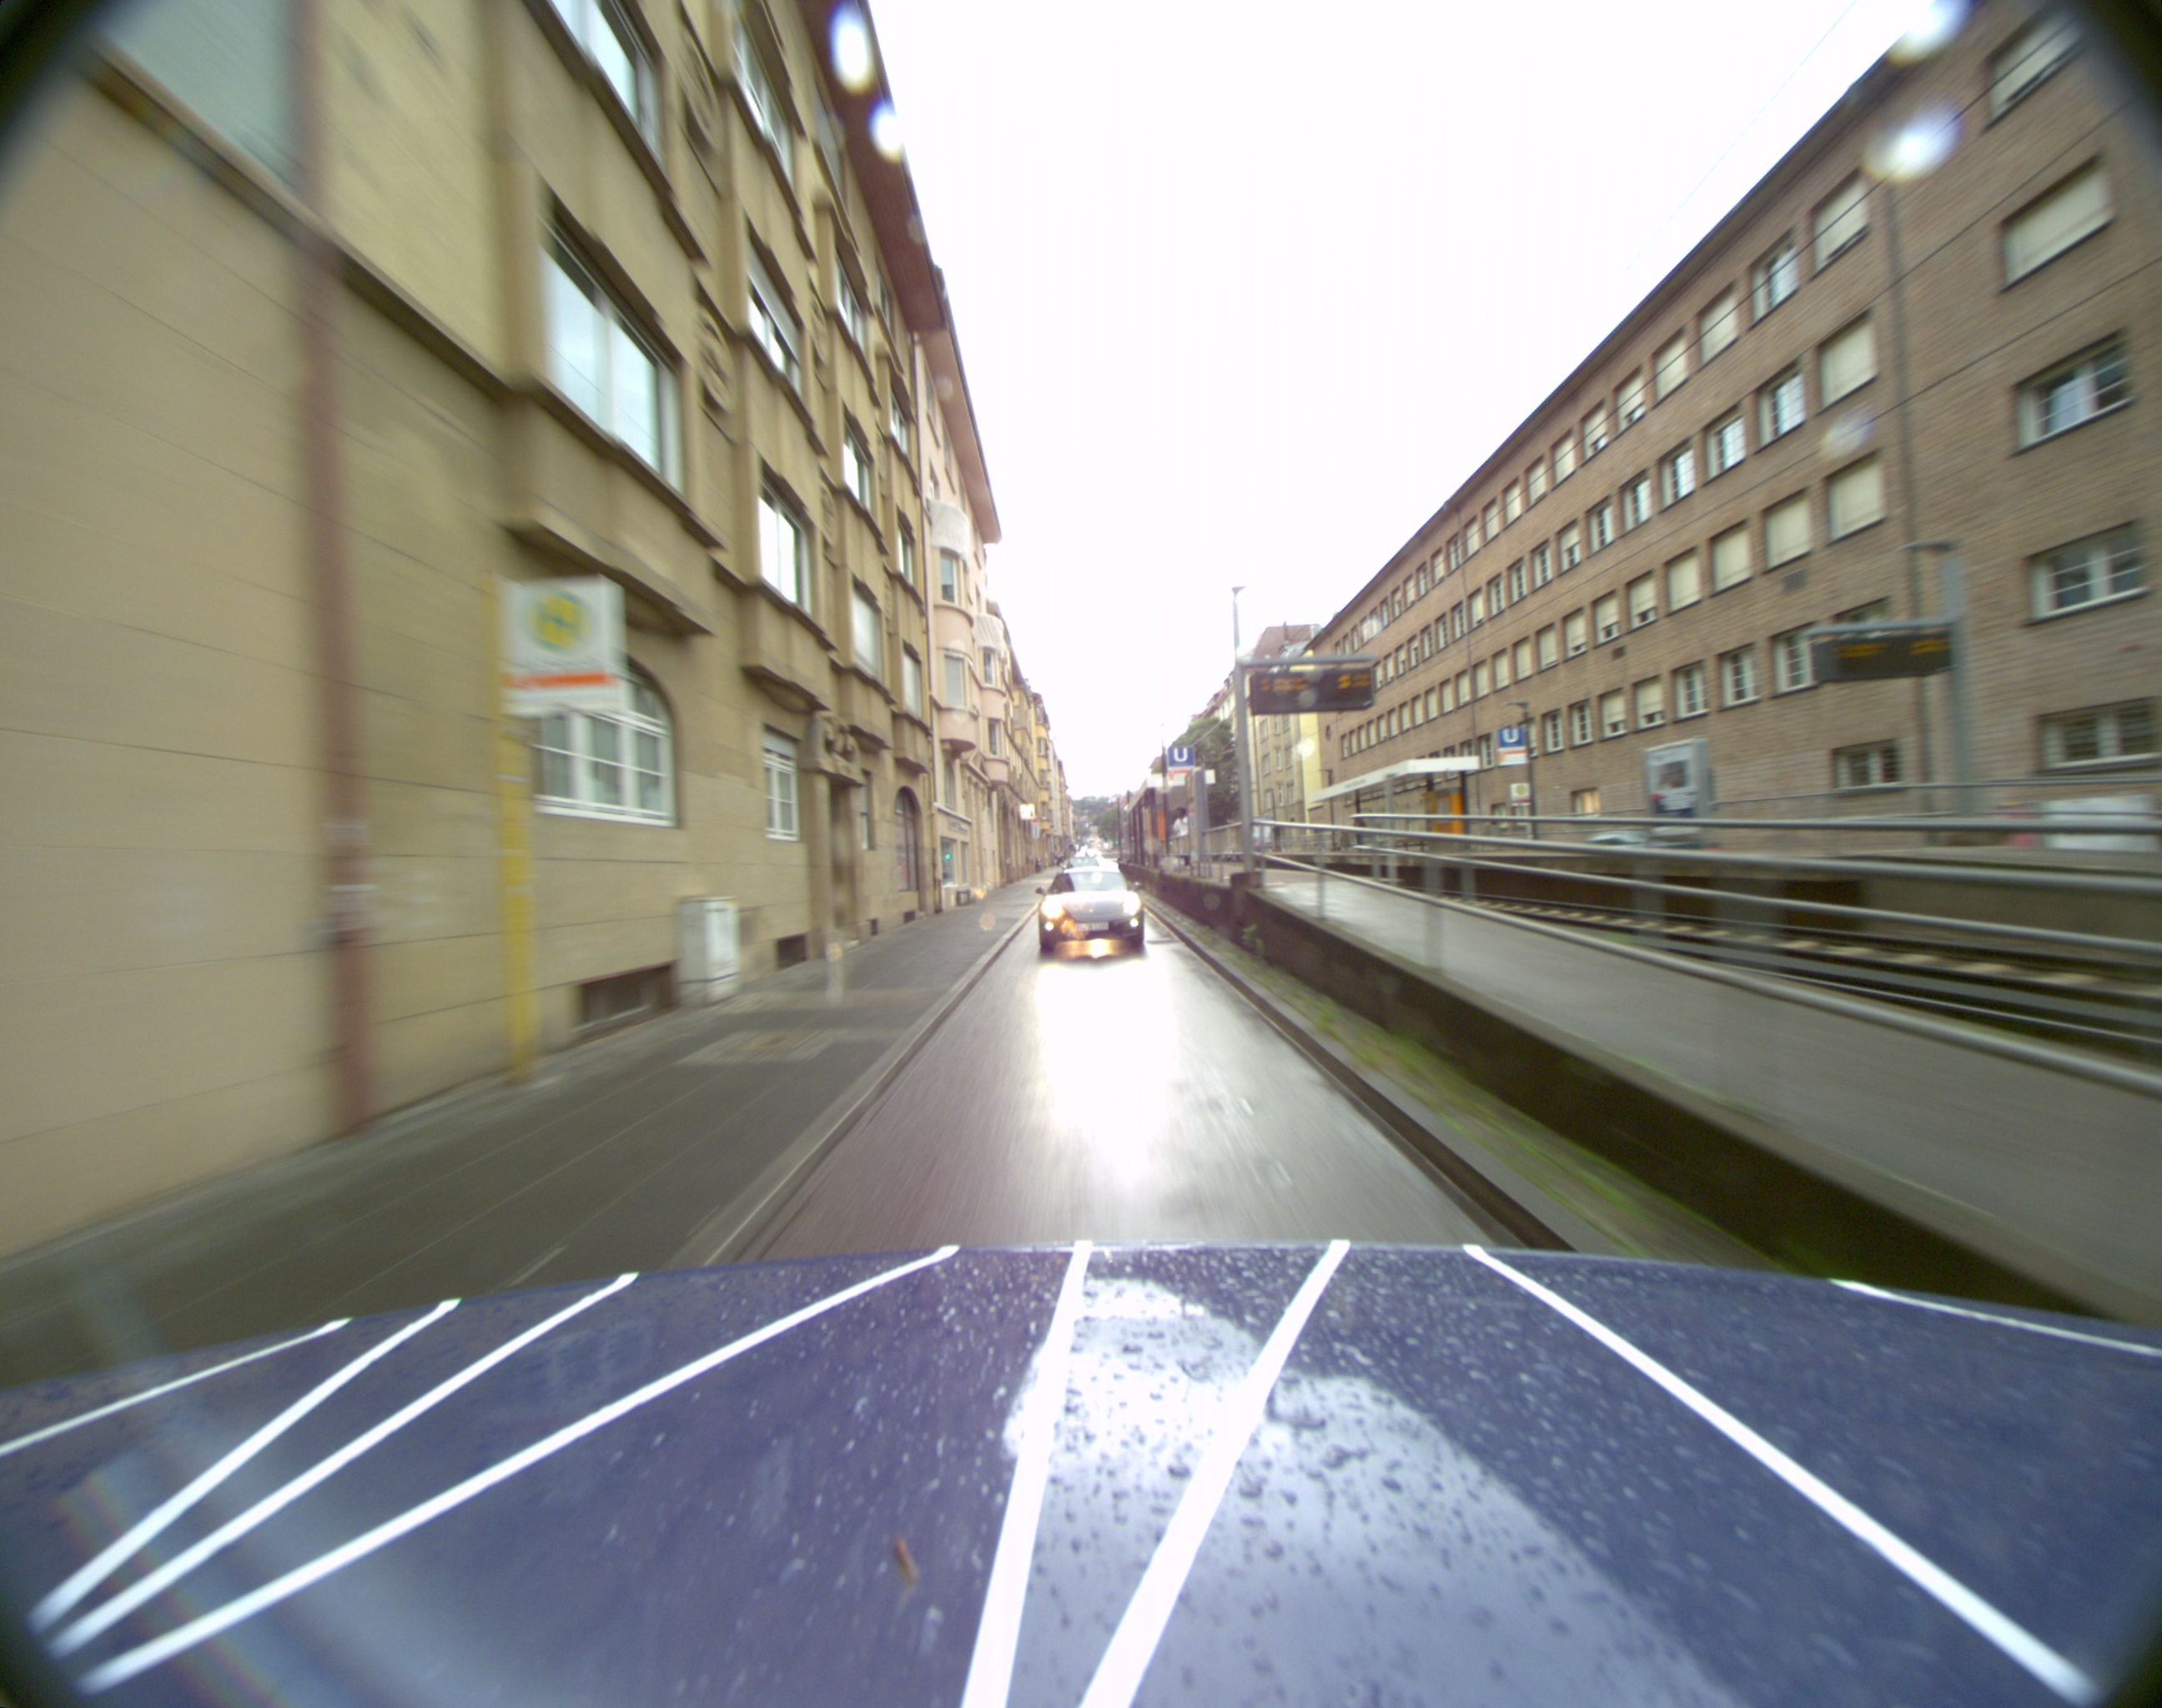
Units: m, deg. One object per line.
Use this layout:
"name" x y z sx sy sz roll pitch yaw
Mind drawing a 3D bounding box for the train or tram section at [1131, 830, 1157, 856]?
"train or tram section" 10.710 -1.881 130.671 2.721 3.898 19.859 -3 1 0

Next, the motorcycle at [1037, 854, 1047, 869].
"motorcycle" -3.271 0.634 63.654 0.692 1.230 1.779 3 1 1

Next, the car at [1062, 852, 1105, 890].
"car" 0.117 0.680 32.181 1.689 1.451 3.299 -1 1 1

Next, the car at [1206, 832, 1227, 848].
"car" 15.882 -1.635 89.281 1.648 1.696 4.098 -3 1 0

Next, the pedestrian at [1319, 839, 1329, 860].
"pedestrian" 18.474 -0.341 57.815 0.550 1.644 0.542 -2 1 2

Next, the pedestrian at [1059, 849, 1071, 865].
"pedestrian" -1.816 0.322 85.520 1.125 1.703 1.102 -2 1 5

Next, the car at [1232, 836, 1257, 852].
"car" 15.588 -0.981 72.499 1.648 1.395 3.633 -3 1 2

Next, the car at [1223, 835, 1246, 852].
"car" 15.588 -1.025 77.321 1.648 1.571 4.339 -3 0 2

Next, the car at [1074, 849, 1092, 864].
"car" 0.245 0.269 80.778 1.633 1.443 4.000 -3 0 2

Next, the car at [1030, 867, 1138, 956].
"car" 0.133 0.979 14.567 1.704 1.280 4.195 -3 0 2

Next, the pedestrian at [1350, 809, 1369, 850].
"pedestrian" 11.804 -1.022 32.186 0.588 1.699 0.491 -2 1 0

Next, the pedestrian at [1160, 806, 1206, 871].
"pedestrian" 2.953 -0.439 22.079 1.116 1.764 1.111 -3 1 1

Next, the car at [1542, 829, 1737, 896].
"car" 14.425 0.178 20.041 1.648 1.488 4.763 -3 0 1

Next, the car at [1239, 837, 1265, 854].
"car" 15.431 -0.790 68.730 1.648 1.458 3.111 -3 1 2
